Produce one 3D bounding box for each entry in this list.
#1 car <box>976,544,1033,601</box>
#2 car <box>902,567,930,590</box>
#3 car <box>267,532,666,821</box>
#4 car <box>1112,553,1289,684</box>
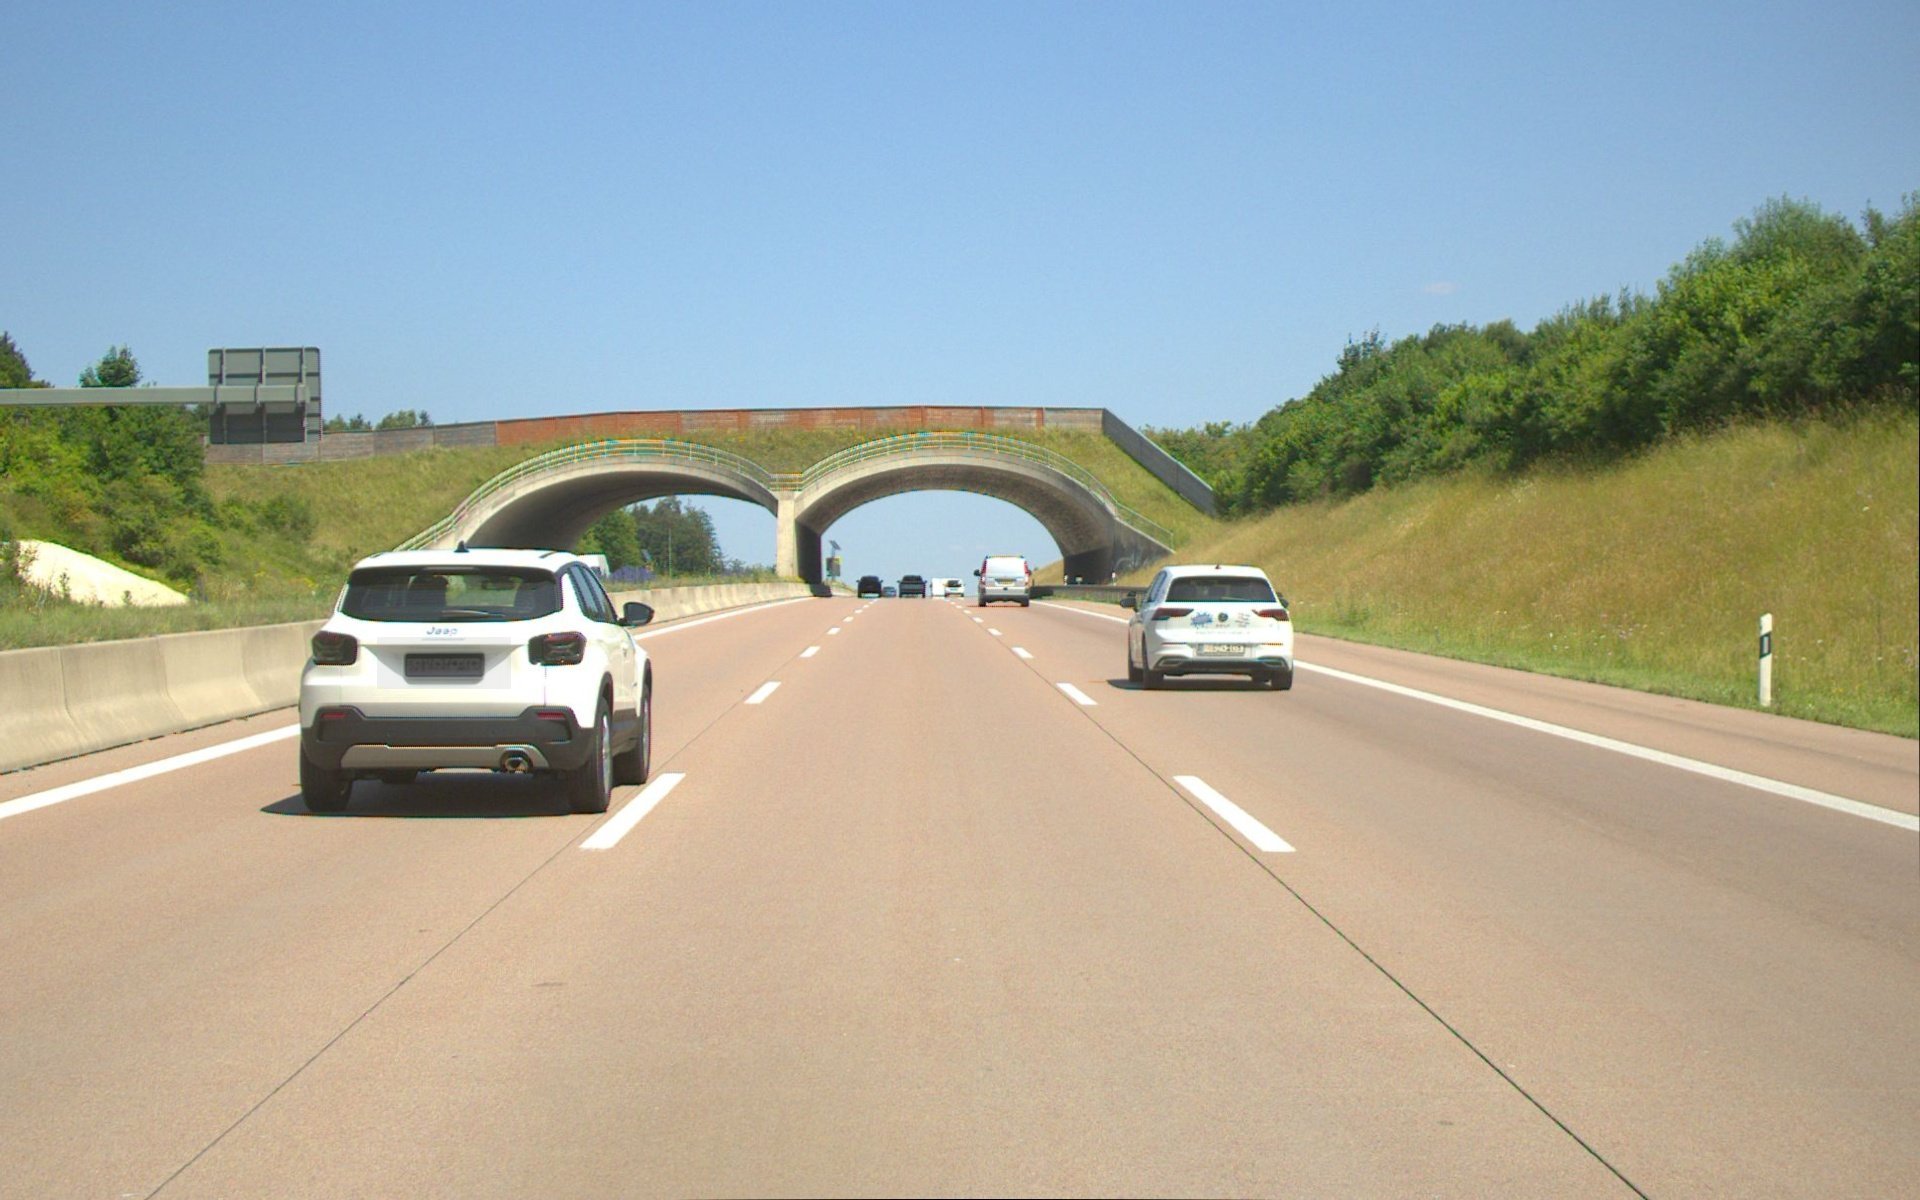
[{"bbox_3d":[1.692,-1.048,130.176,2.110,2.047,4.000,0,2,1],"label":"car"},{"bbox_3d":[-2.988,-1.485,235.404,1.891,1.458,4.000,1,1,0],"label":"car"},{"bbox_3d":[-2.956,0.380,21.565,1.879,1.602,4.834,0,1,-1],"label":"car"},{"bbox_3d":[2.822,0.182,41.062,1.891,1.393,4.000,1,2,1],"label":"car"}]
